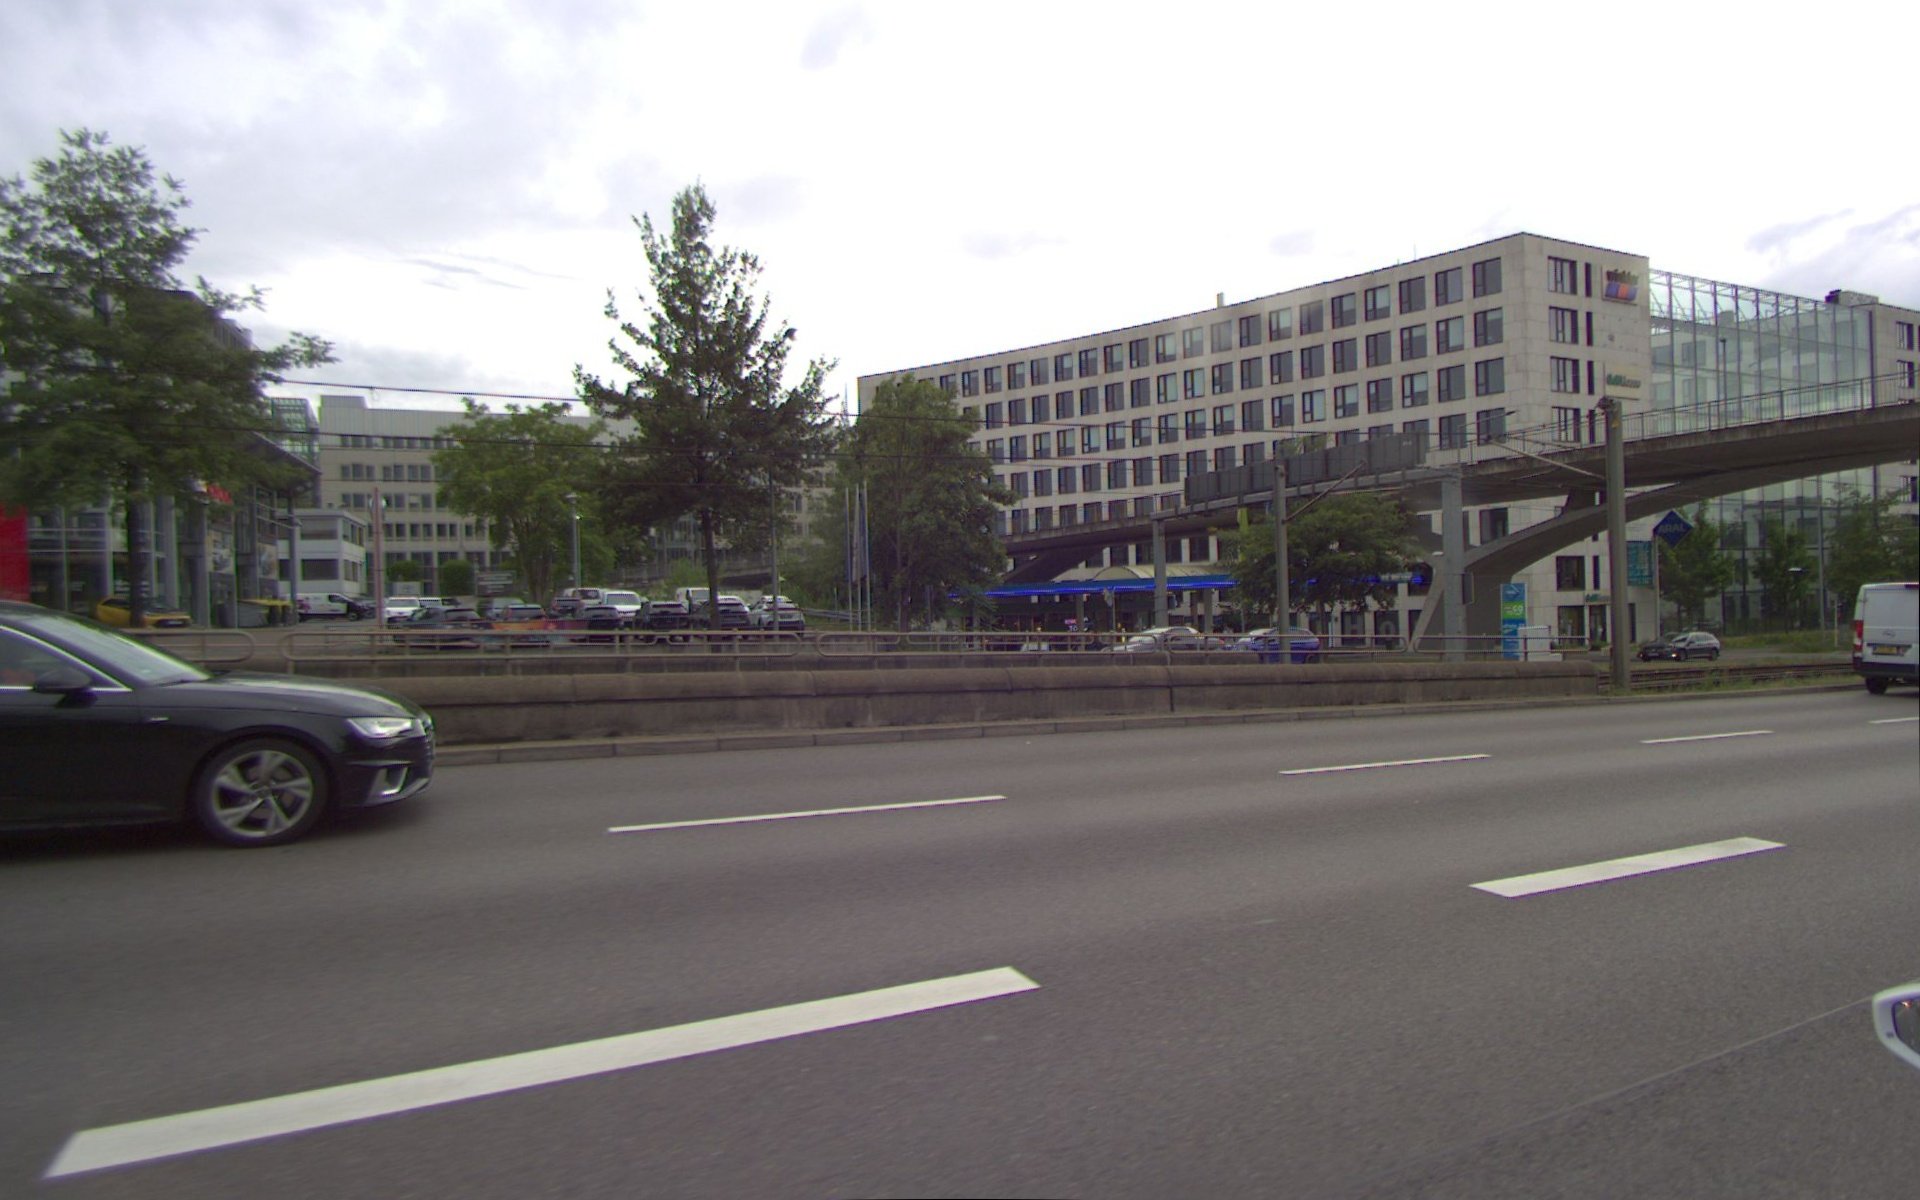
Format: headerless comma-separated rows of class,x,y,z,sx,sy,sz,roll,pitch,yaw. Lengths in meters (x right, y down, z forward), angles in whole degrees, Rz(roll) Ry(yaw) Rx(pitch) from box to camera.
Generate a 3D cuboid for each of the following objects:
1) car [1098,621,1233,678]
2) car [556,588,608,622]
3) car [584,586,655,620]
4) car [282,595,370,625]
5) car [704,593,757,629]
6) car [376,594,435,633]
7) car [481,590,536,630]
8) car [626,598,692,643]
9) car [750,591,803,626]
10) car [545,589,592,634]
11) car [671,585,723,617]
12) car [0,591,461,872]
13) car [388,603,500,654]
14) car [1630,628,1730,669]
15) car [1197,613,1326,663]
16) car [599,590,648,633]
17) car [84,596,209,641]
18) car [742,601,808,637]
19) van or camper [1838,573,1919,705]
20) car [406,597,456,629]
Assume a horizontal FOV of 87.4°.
car,5.567,1.287,27.195,3.434,1.439,1.512,0,-1,-28
car,-19.896,0.237,52.744,1.976,1.673,3.969,-2,2,-29
car,-21.387,0.183,63.090,3.924,2.076,1.998,0,2,25
car,-42.420,0.645,67.286,4.657,1.865,1.756,-2,2,-22
car,-11.708,0.529,51.069,1.971,1.673,3.979,-2,2,-22
car,-26.647,0.616,48.370,1.971,1.673,3.978,-2,2,-22
car,-20.857,0.431,46.306,1.976,1.673,3.969,-2,2,-29
car,-12.032,0.776,40.035,1.973,1.673,3.975,0,1,-25
car,-9.660,0.400,52.594,1.971,1.673,3.978,-2,2,-22
car,-18.604,0.545,47.714,1.971,2.040,3.979,1,-1,-22
car,-14.806,0.006,56.470,1.800,1.673,3.967,-2,2,-30
car,-5.527,0.681,5.961,4.572,1.438,1.803,1,0,-27
car,-19.010,0.992,36.945,3.931,1.673,1.995,1,1,33
car,36.250,2.424,50.609,4.179,1.759,1.992,-2,2,-17
car,10.635,1.330,35.418,4.193,1.658,1.987,1,-1,-27
car,-16.135,0.492,48.041,1.971,1.901,3.978,-2,2,-22
car,-32.316,0.721,39.931,3.920,1.673,2.000,-1,2,18
car,-7.848,0.782,42.335,1.825,1.372,3.975,0,1,-25
van or camper,20.751,0.703,20.879,5.466,2.472,2.192,-2,2,-31
car,-30.743,0.732,58.487,1.970,1.673,3.981,-2,2,-20
